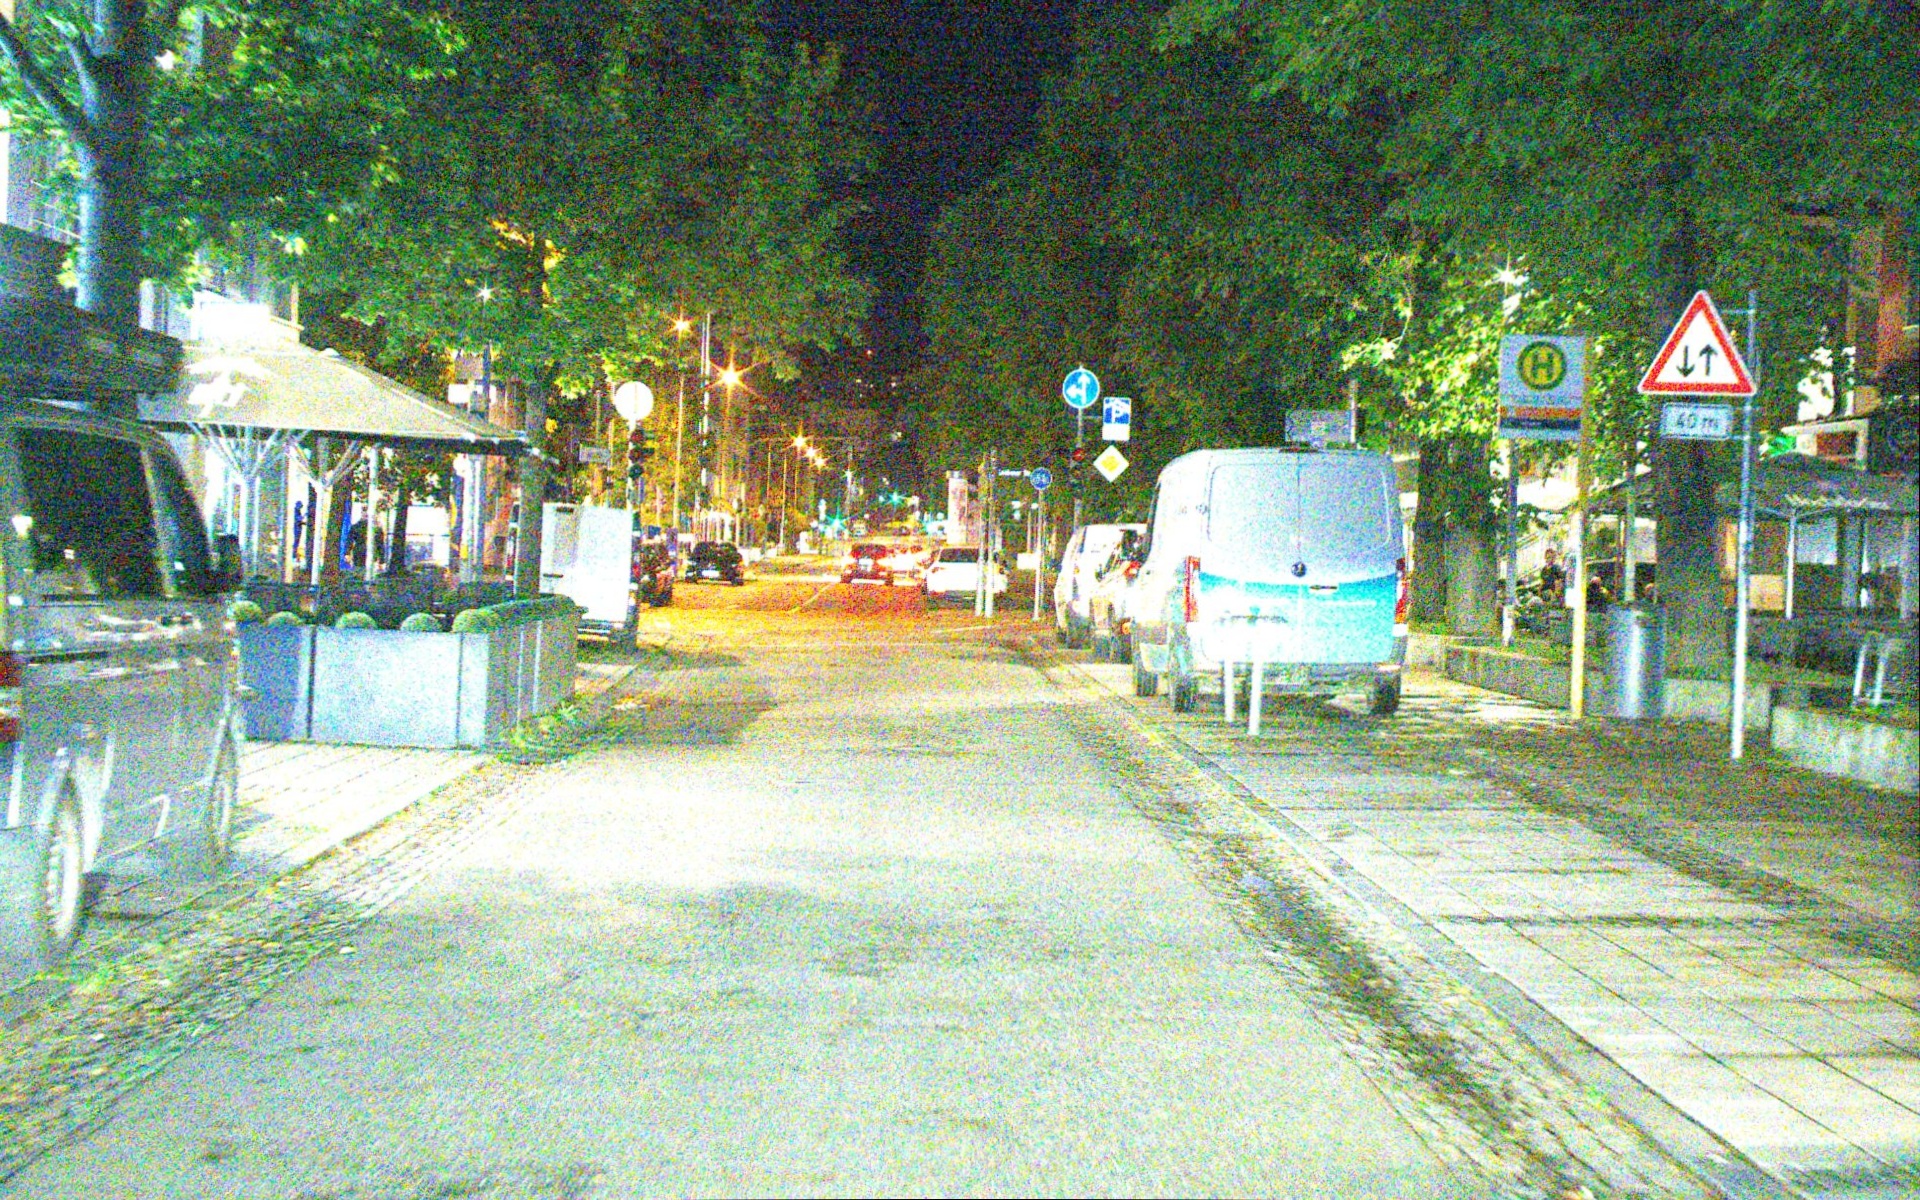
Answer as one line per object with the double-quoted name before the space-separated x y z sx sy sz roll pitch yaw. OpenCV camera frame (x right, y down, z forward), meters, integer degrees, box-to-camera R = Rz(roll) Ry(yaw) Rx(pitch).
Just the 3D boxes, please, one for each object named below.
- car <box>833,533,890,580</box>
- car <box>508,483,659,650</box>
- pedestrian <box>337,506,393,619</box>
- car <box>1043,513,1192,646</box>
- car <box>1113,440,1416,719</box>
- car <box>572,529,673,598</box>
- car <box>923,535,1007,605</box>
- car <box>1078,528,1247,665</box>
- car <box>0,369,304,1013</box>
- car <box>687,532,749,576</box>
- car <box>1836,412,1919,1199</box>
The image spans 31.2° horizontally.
"car" -3.570 -1.584 124.841 1.993 1.637 4.000 1 1 -1
"car" -5.239 -0.487 47.847 1.852 2.080 5.092 4 1 -6
"pedestrian" -9.161 -0.586 52.954 0.668 1.713 0.908 1 1 -1
"car" 2.269 -0.330 50.563 1.789 1.816 4.580 1 1 -2
"car" 2.708 -0.222 31.841 2.134 2.318 5.152 1 1 -2
"car" -7.711 -0.855 78.903 1.806 1.420 4.921 4 1 -1
"car" 0.091 -0.702 78.093 1.818 1.494 4.000 1 1 -1
"car" 2.573 -0.083 44.550 1.684 1.653 4.298 1 1 -3
"car" -3.897 0.179 12.975 1.924 1.958 5.077 3 1 -2
"car" -8.168 -1.571 116.550 1.741 1.408 4.496 3 1 0
"car" 3.096 0.538 5.594 1.907 1.797 4.937 1 1 -2
